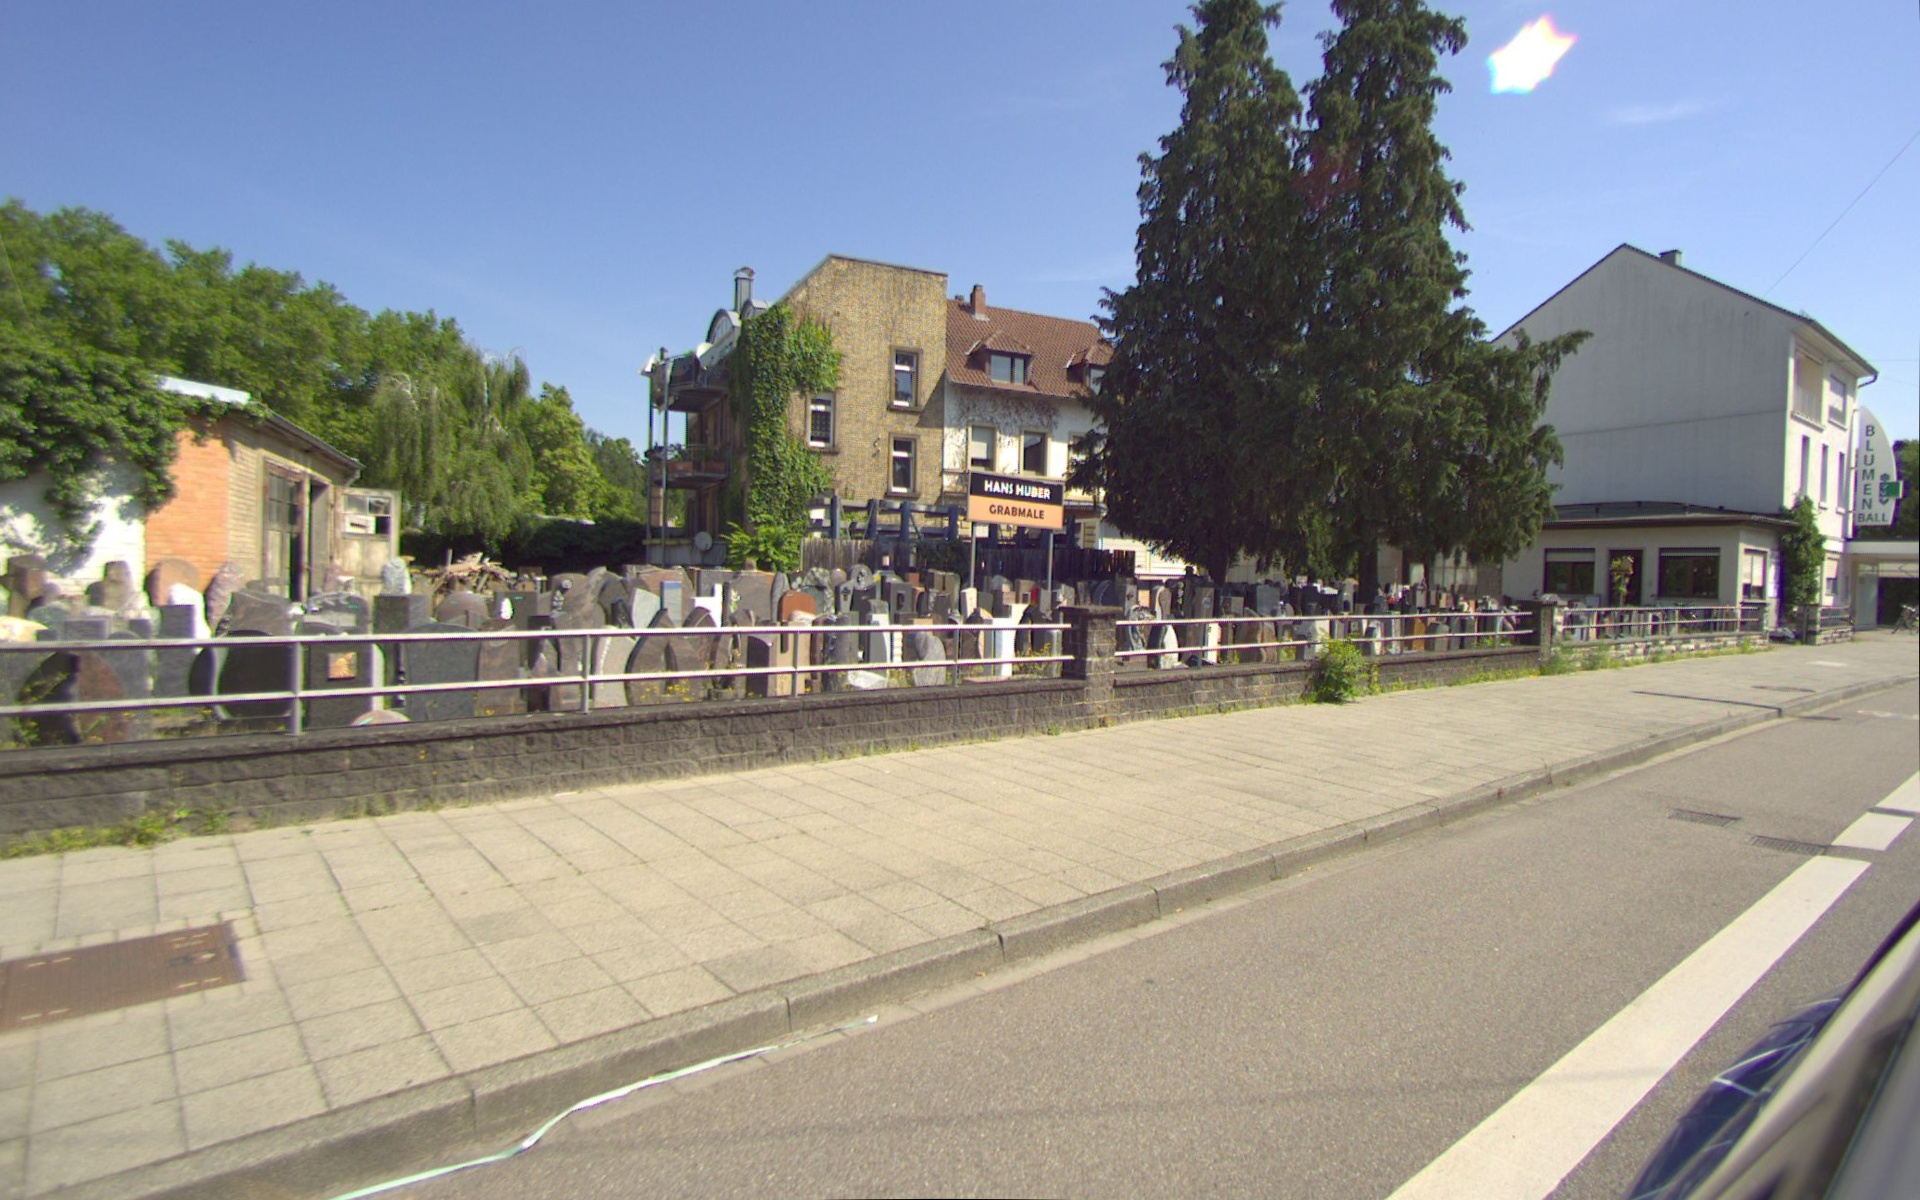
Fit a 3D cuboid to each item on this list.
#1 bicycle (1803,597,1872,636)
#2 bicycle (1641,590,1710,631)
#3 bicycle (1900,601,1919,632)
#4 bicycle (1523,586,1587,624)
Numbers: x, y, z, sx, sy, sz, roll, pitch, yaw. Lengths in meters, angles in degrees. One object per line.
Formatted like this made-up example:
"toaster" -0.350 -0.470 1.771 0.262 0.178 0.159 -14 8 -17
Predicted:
"bicycle" 27.884 0.521 32.181 0.390 1.069 1.532 1 4 -37
"bicycle" 21.111 0.293 29.915 0.503 1.124 1.695 2 2 -14
"bicycle" 36.759 0.629 38.691 1.655 1.148 0.513 1 1 -22
"bicycle" 19.341 0.141 32.913 0.503 1.124 1.690 1 2 -37
